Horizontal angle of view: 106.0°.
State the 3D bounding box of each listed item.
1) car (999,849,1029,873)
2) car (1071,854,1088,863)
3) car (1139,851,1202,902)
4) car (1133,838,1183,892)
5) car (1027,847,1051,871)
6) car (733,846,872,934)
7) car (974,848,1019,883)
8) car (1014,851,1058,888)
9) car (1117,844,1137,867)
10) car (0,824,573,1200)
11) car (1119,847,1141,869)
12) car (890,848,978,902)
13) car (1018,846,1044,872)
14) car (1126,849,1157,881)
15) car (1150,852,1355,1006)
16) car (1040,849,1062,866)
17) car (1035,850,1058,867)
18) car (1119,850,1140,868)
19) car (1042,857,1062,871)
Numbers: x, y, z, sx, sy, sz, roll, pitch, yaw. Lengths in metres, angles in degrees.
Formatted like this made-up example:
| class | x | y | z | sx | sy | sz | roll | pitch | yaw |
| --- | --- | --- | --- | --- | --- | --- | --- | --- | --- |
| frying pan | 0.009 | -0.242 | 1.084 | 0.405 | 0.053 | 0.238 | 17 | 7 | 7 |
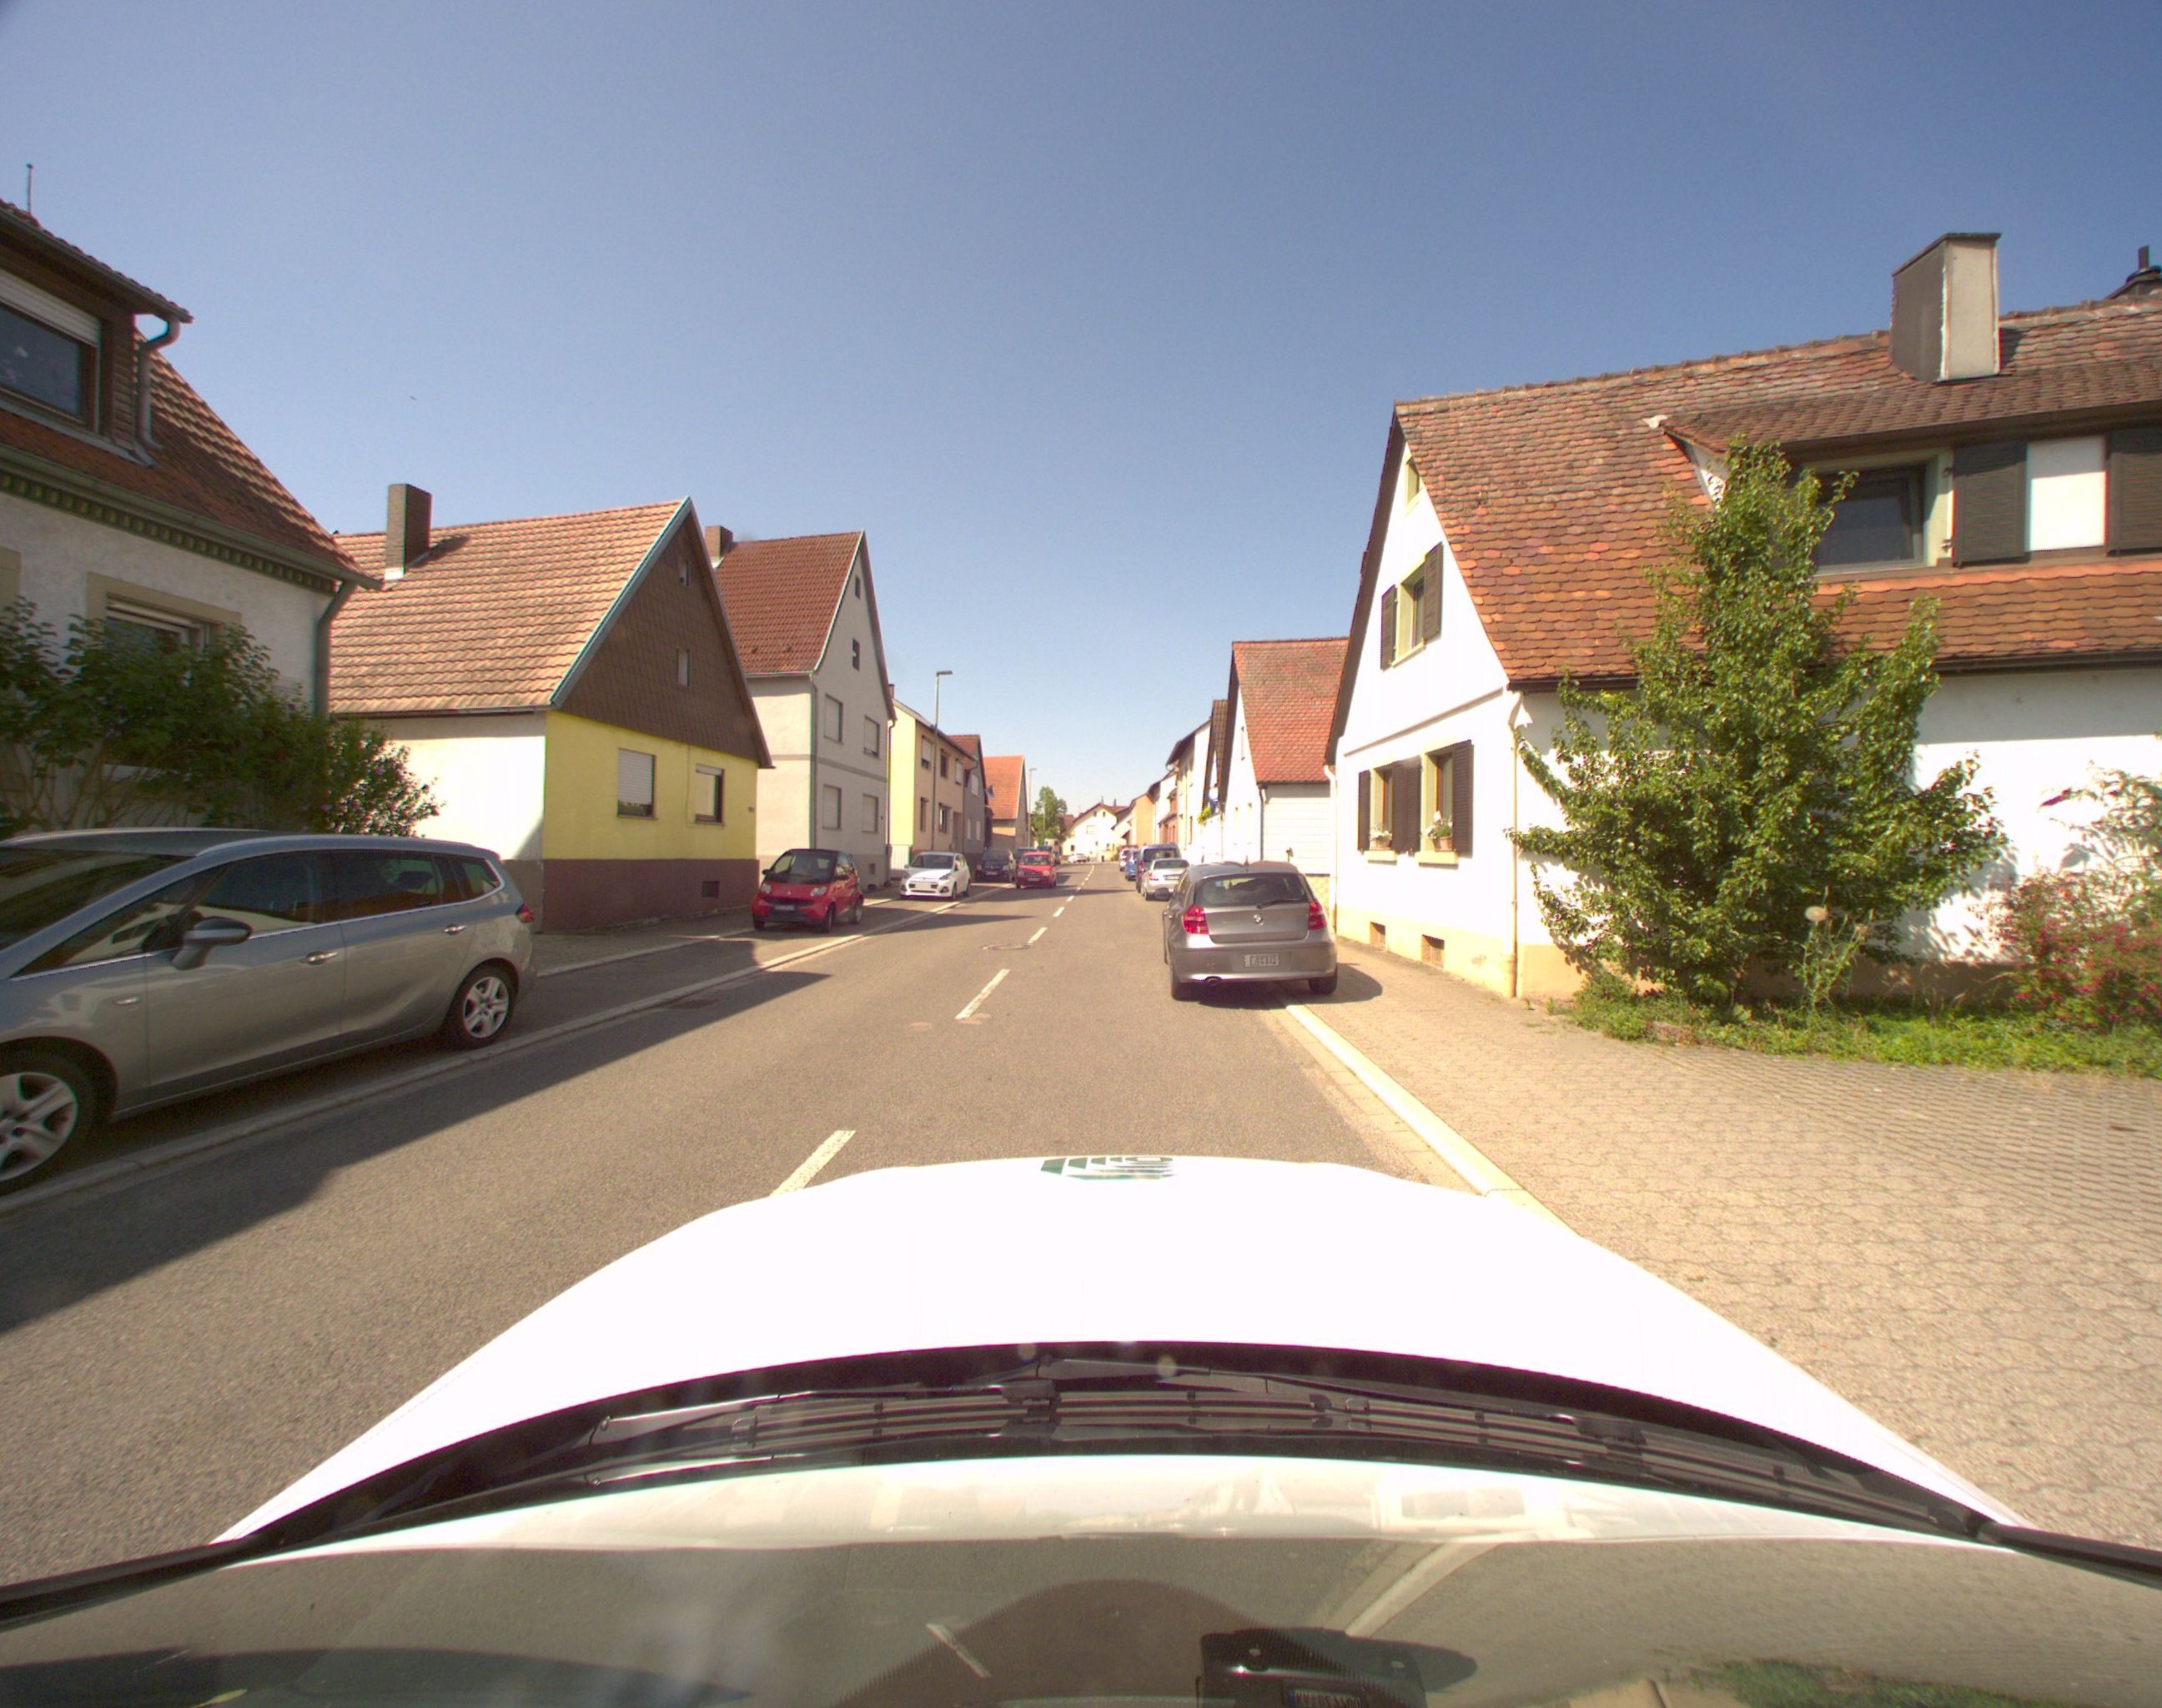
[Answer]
| class | x | y | z | sx | sy | sz | roll | pitch | yaw |
| --- | --- | --- | --- | --- | --- | --- | --- | --- | --- |
| car | -4.209 | 0.448 | 51.619 | 1.498 | 1.453 | 3.511 | 0 | -1 | 2 |
| car | -0.264 | 0.637 | 119.152 | 1.992 | 1.288 | 3.989 | 0 | -1 | -8 |
| car | 2.832 | 0.695 | 26.384 | 1.698 | 1.496 | 3.453 | 2 | 0 | 1 |
| car | 2.897 | 0.413 | 31.263 | 1.643 | 1.910 | 3.627 | 2 | 0 | 1 |
| car | -3.236 | 0.380 | 63.139 | 1.521 | 1.713 | 3.627 | 2 | 0 | 1 |
| car | -5.405 | 0.652 | 16.154 | 1.546 | 1.544 | 2.990 | 2 | 0 | 3 |
| car | -4.077 | 0.527 | 39.656 | 1.613 | 1.577 | 3.963 | 2 | 0 | 1 |
| car | -1.909 | 0.652 | 35.515 | 1.595 | 1.489 | 3.627 | 2 | 0 | 1 |
| car | 4.111 | 0.141 | 73.059 | 1.759 | 2.004 | 3.452 | 0 | -1 | 3 |
| car | -5.523 | 0.666 | 4.781 | 1.865 | 1.636 | 4.669 | 2 | 0 | 4 |
| car | 3.573 | 0.293 | 59.879 | 1.415 | 1.515 | 3.305 | 2 | 0 | 1 |
| car | -4.658 | 0.631 | 26.426 | 1.798 | 1.548 | 4.407 | 2 | 0 | 3 |
| car | -3.511 | 0.336 | 57.708 | 1.521 | 1.713 | 3.627 | 2 | 0 | 1 |
| car | 3.090 | 0.552 | 42.304 | 1.415 | 1.515 | 3.305 | 2 | 0 | 1 |
| car | 1.800 | 0.718 | 9.730 | 1.698 | 1.433 | 3.891 | -1 | 0 | 1 |
| car | -2.786 | 0.332 | 76.813 | 1.747 | 1.624 | 4.001 | 0 | -1 | 2 |
| car | -2.926 | 0.367 | 70.107 | 1.748 | 1.442 | 4.000 | 0 | -1 | 1 |
| car | 4.010 | 0.422 | 67.668 | 1.759 | 1.433 | 3.452 | 0 | -1 | 3 |
| car | -3.023 | 1.003 | 86.157 | 1.747 | 1.442 | 4.003 | 0 | -1 | 3 |
